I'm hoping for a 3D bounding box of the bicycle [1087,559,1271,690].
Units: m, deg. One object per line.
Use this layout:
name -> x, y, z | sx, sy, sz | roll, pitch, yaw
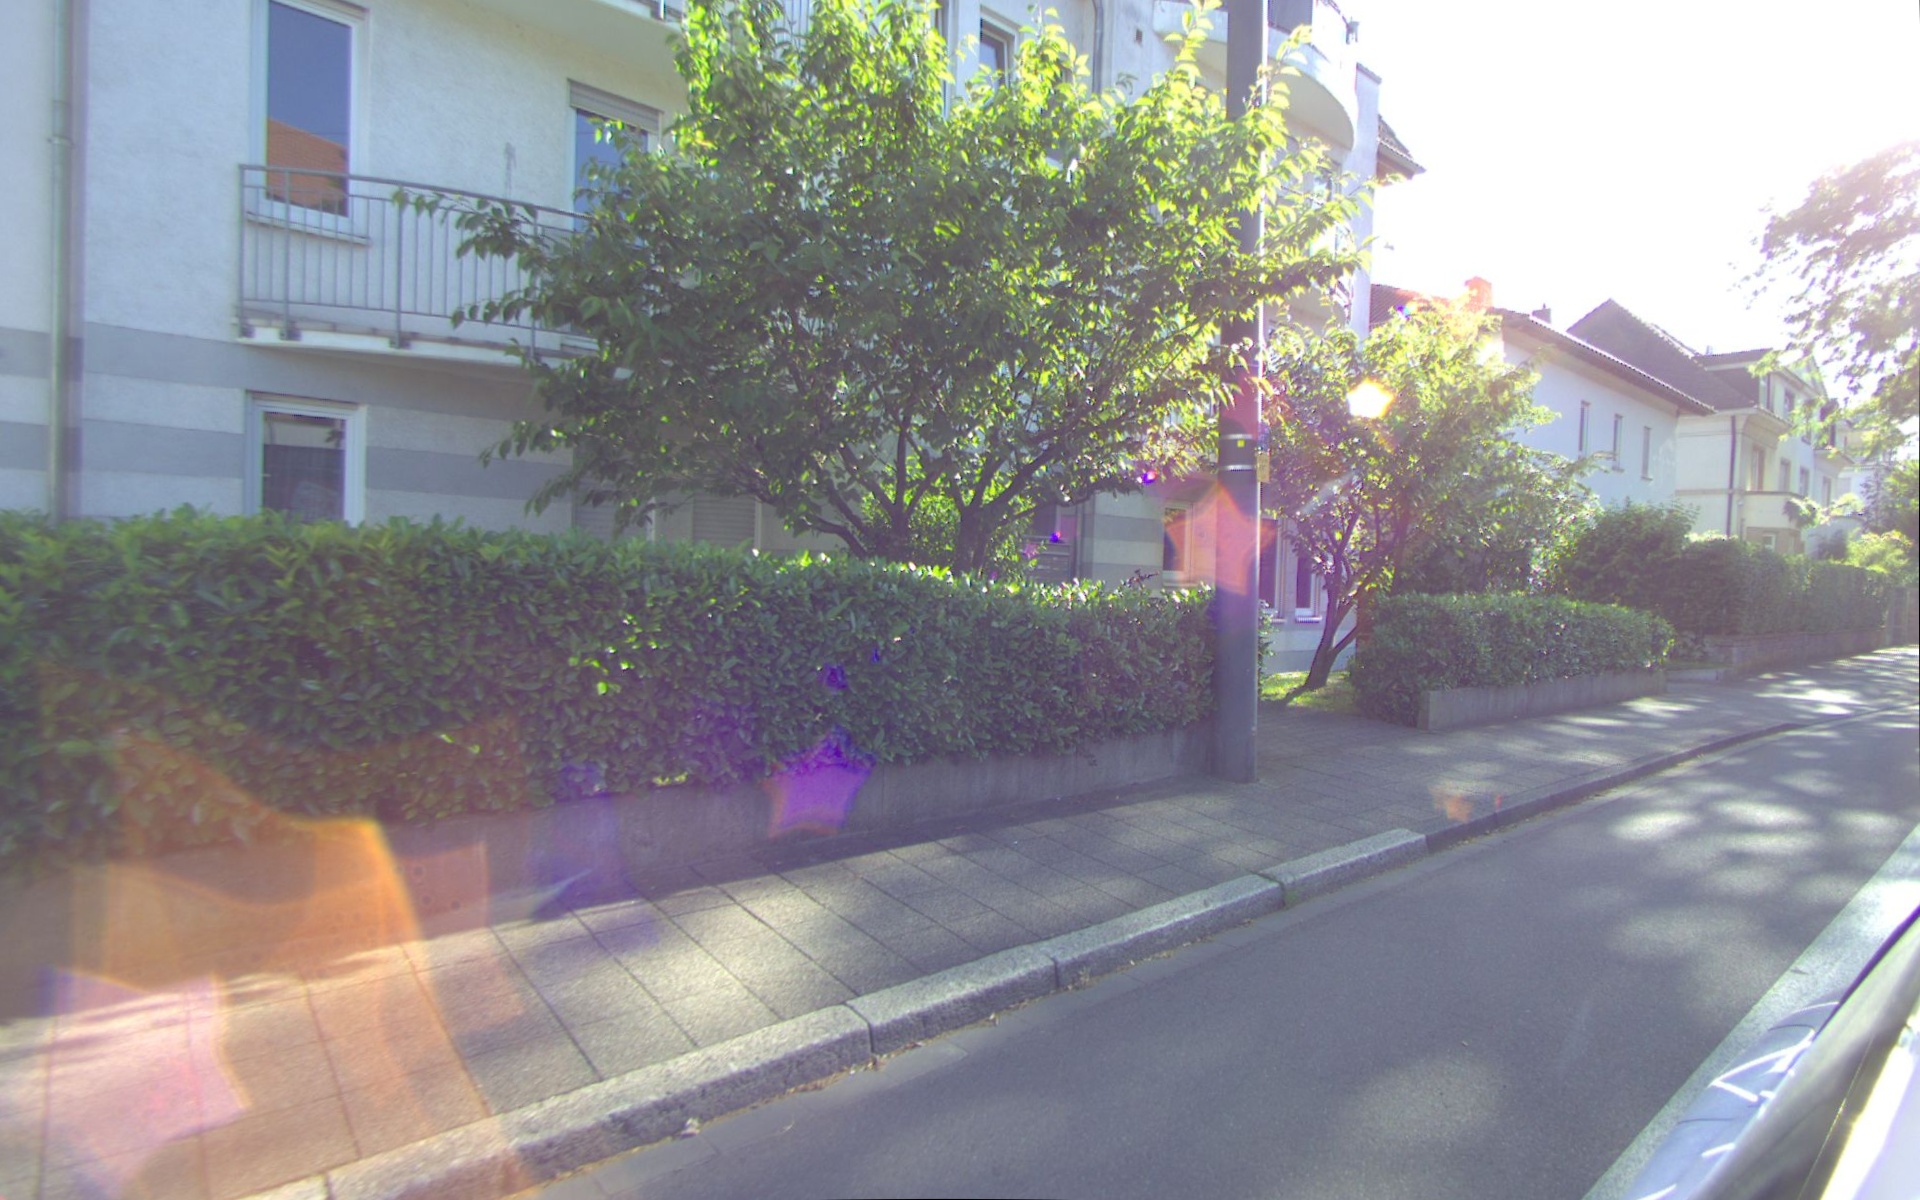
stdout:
bicycle -> 2.423, 0.221, 11.396 | 0.811, 1.217, 1.846 | 0, 6, -40
